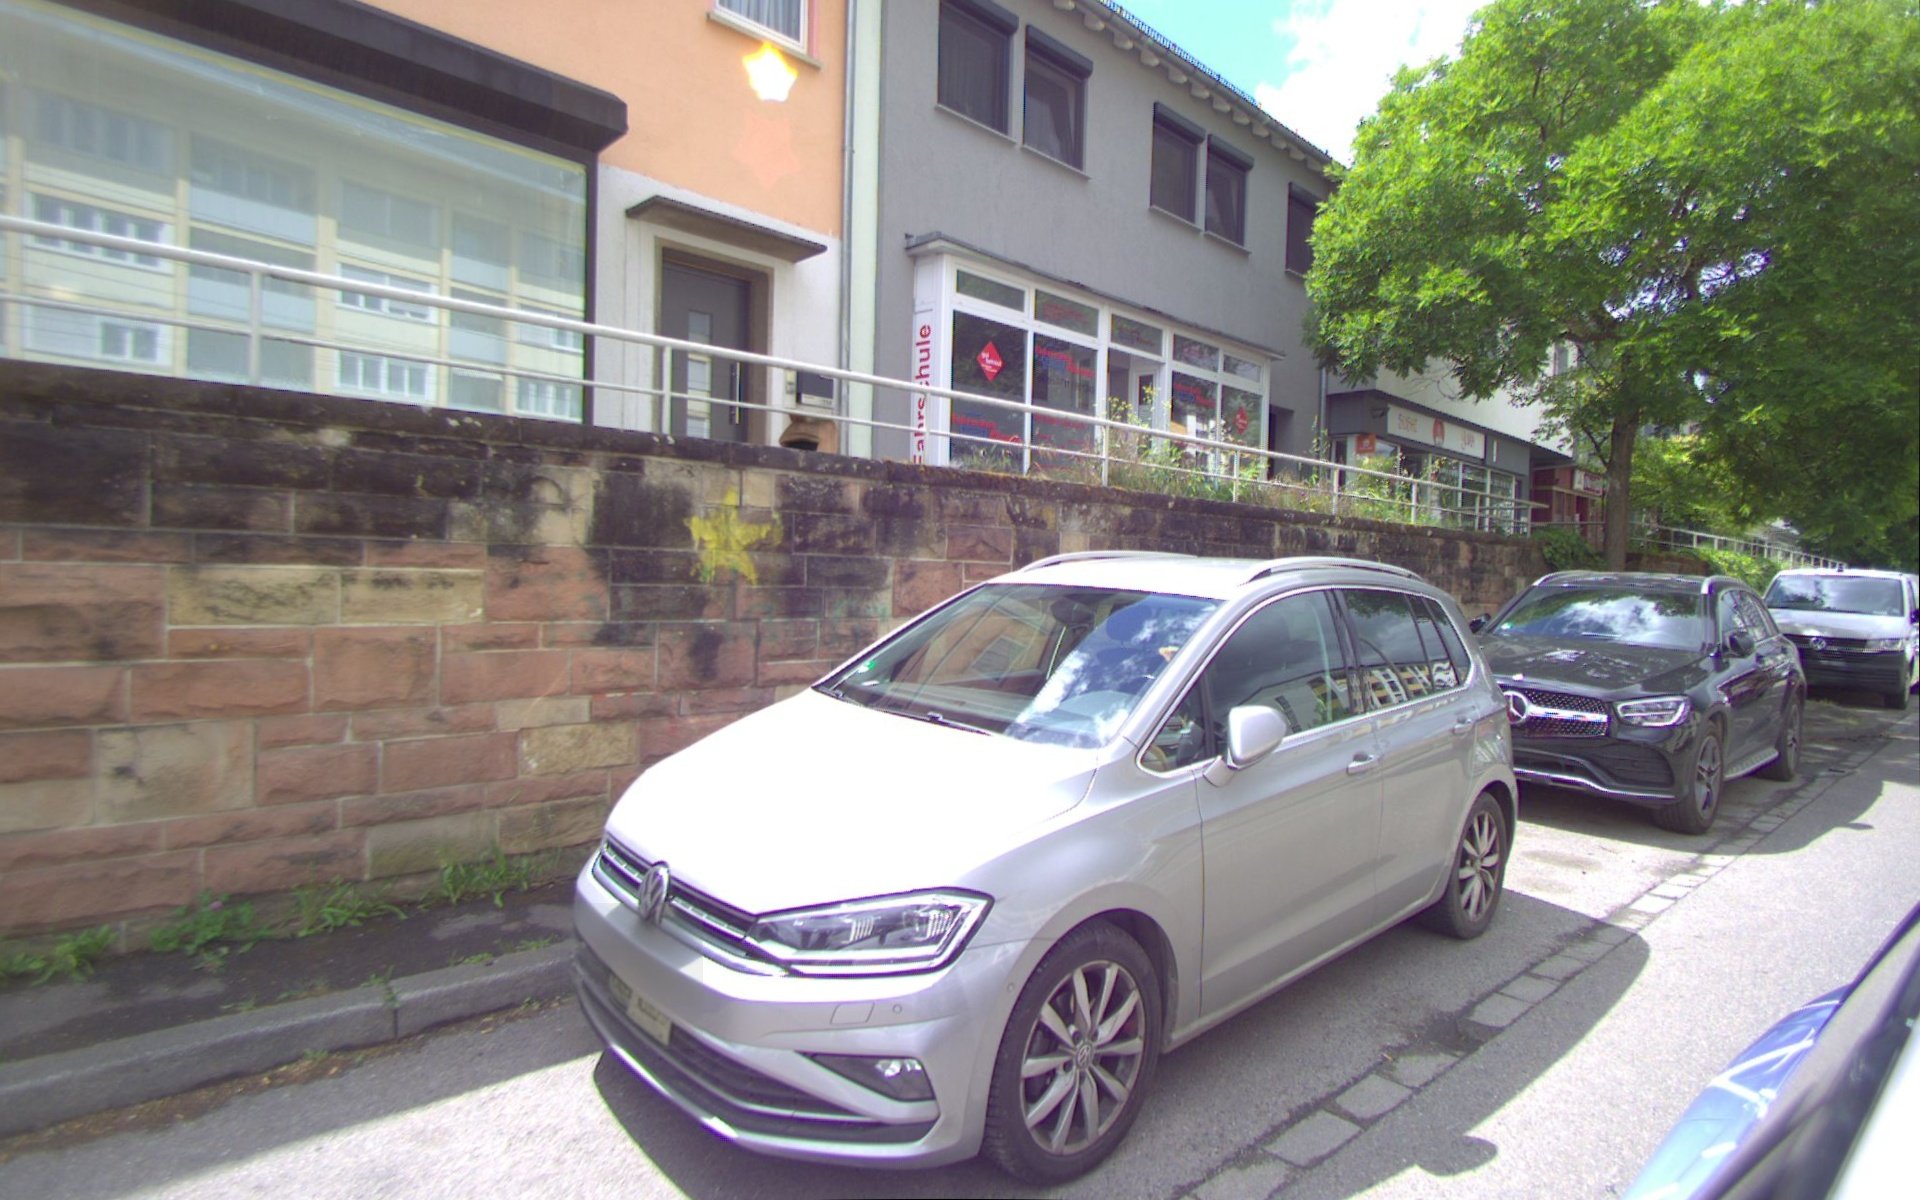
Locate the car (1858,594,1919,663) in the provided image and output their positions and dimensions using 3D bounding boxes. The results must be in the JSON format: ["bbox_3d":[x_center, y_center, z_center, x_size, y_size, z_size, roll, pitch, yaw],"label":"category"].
[{"bbox_3d":[21.814,0.612,22.984,4.076,1.446,1.782,0,2,-44],"label":"car"}]

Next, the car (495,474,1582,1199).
[{"bbox_3d":[0.681,0.538,3.922,4.175,1.637,1.793,0,3,-42],"label":"car"}]

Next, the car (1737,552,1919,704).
[{"bbox_3d":[13.845,0.332,15.639,4.926,1.994,1.976,0,1,-41],"label":"car"}]

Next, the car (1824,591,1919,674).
[{"bbox_3d":[17.998,0.563,19.475,3.670,1.446,1.577,0,1,-41],"label":"car"}]

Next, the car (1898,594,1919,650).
[{"bbox_3d":[27.032,0.587,27.556,4.075,1.446,1.783,0,1,-41],"label":"car"}]

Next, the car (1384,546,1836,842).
[{"bbox_3d":[5.197,0.486,7.825,4.371,1.637,1.793,0,3,-42],"label":"car"}]
